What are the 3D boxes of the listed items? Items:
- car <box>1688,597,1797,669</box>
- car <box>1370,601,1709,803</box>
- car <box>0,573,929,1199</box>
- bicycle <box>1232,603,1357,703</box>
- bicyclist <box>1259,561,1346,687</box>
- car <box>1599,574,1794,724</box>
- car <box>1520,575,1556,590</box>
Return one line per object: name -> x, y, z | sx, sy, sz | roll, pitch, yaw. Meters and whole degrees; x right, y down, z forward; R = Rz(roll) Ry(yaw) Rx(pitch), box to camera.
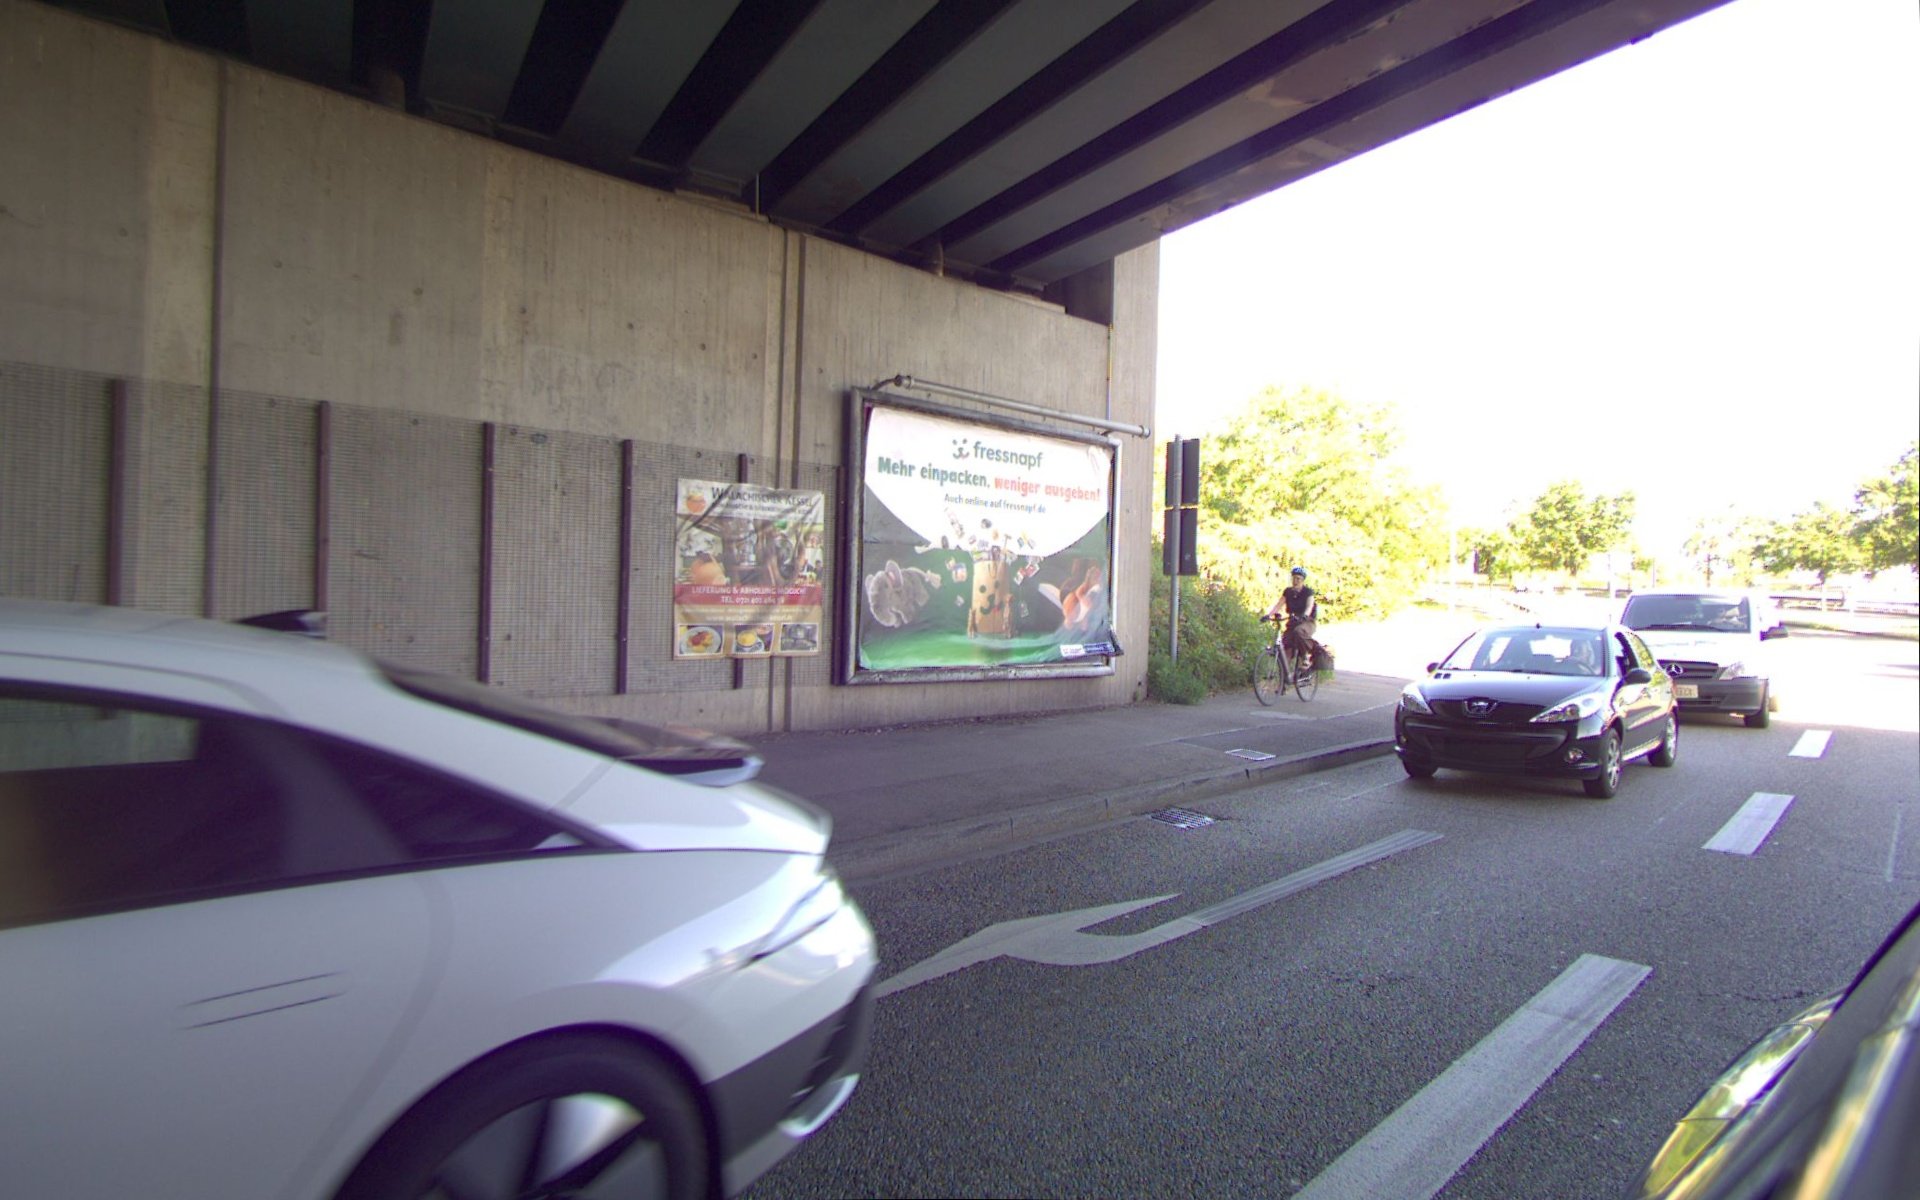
car -> 19.447, 0.737, 25.139 | 1.990, 1.570, 4.359 | 0, 1, 39
car -> 5.447, 0.752, 9.334 | 3.654, 1.474, 1.747 | 0, 0, -43
car -> -2.340, 0.698, 1.476 | 4.585, 1.474, 1.748 | 0, 0, -43
bicycle -> 4.350, 0.665, 13.101 | 1.746, 1.181, 0.652 | 2, 2, -40
bicyclist -> 4.453, 0.303, 13.164 | 0.832, 1.552, 0.654 | 2, 2, -40
car -> 10.976, 0.598, 14.935 | 1.896, 1.859, 4.762 | 0, 0, 42
car -> 65.227, -1.939, 114.237 | 1.773, 1.626, 4.292 | 0, 1, 3
